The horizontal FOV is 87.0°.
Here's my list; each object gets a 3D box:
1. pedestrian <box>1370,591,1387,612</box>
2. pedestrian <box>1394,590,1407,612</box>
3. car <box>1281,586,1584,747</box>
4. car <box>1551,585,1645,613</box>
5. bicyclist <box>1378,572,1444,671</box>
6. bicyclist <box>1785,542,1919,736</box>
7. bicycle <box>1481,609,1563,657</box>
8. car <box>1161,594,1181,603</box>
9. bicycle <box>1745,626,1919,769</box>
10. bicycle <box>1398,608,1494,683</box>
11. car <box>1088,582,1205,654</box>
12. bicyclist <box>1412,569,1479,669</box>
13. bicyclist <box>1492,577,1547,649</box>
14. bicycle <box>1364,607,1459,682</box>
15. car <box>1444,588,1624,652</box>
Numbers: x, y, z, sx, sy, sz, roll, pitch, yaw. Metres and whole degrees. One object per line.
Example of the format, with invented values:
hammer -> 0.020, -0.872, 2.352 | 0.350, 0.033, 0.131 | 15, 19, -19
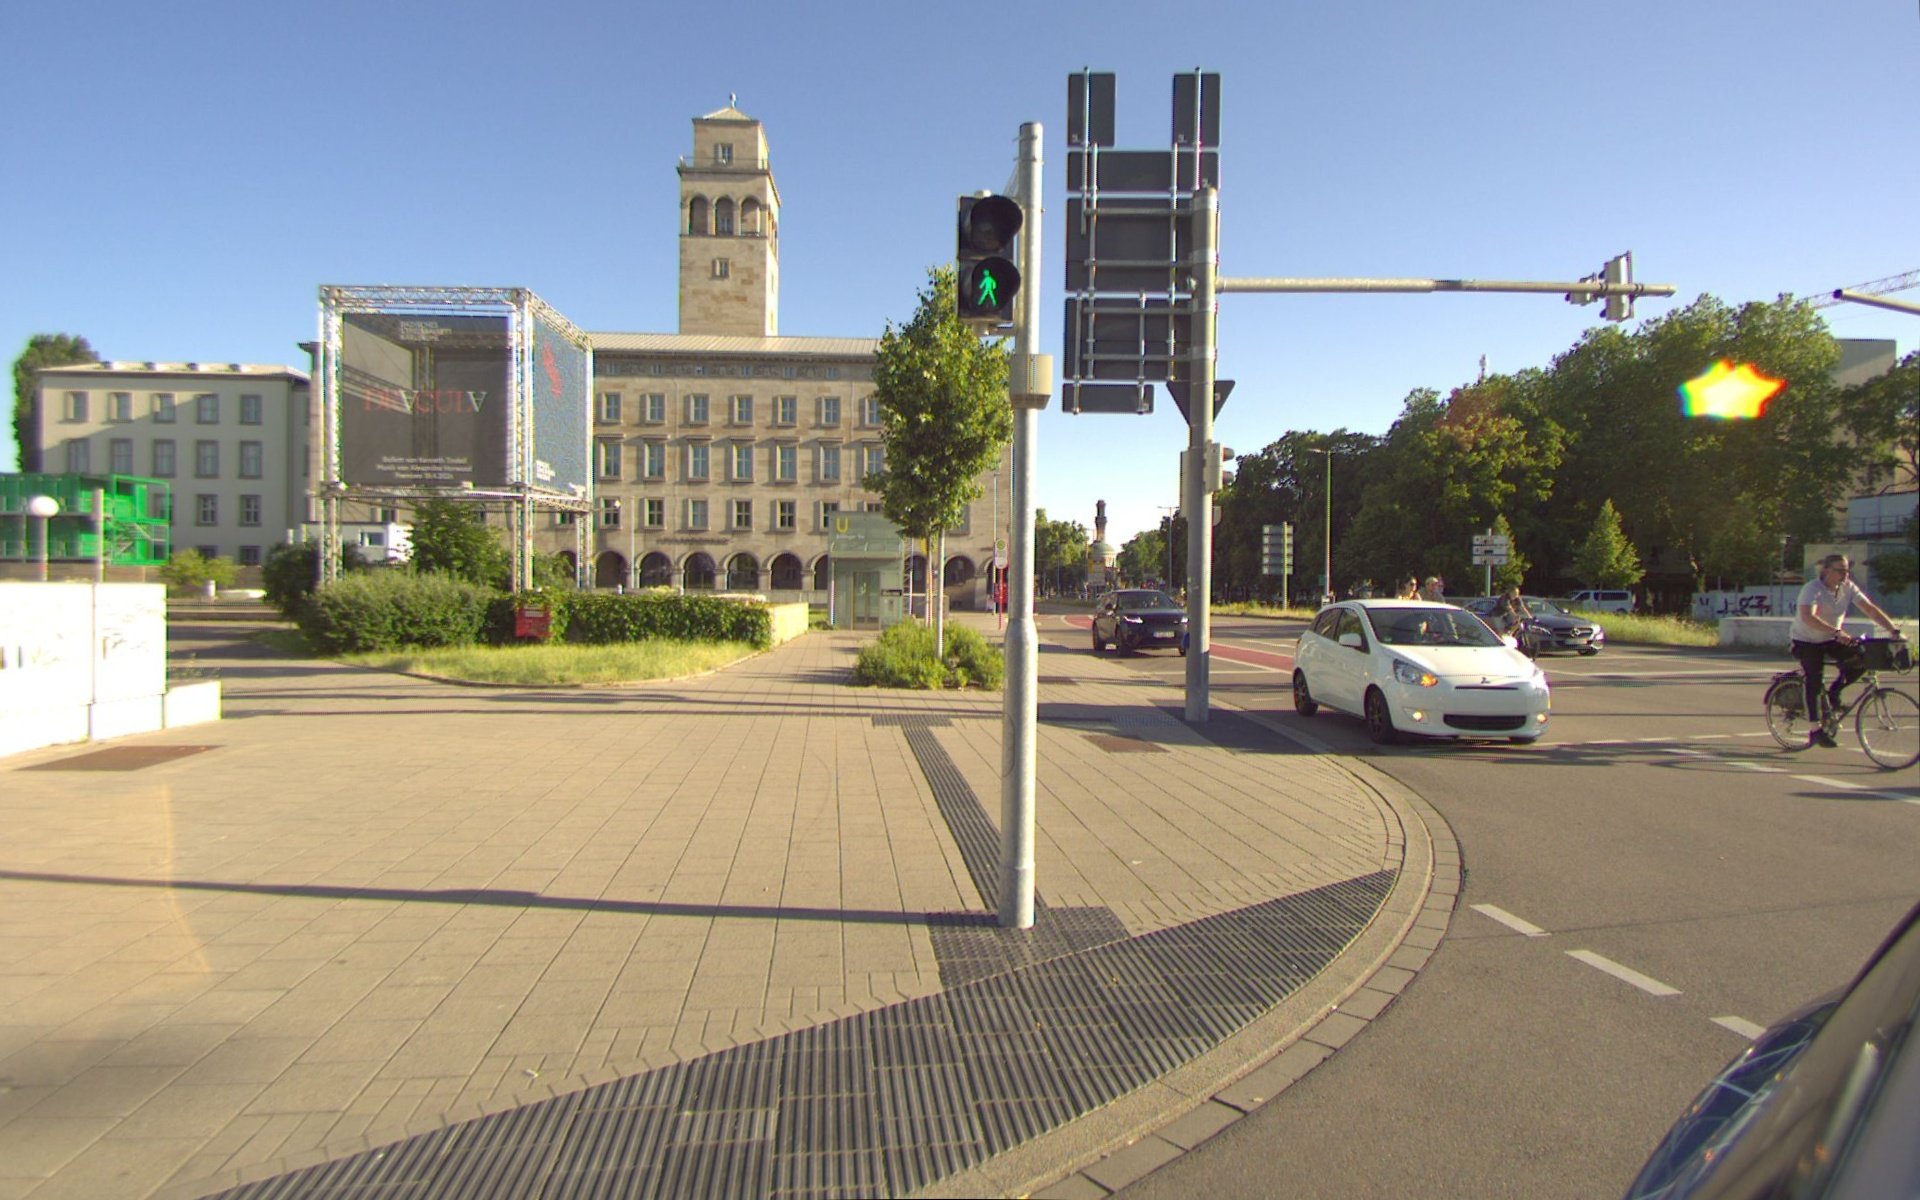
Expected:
pedestrian -> 35.684, 0.130, 86.279 | 0.978, 1.805, 0.964 | -1, 1, -1
pedestrian -> 34.425, 0.085, 79.081 | 0.652, 1.748, 0.698 | 1, 0, -1
car -> 5.112, 0.603, 11.589 | 1.630, 1.490, 3.968 | -1, 1, 1
car -> 44.884, -0.084, 71.277 | 5.234, 1.915, 1.998 | 1, 0, 4
bicyclist -> 7.319, 0.332, 16.453 | 0.639, 1.562, 0.848 | 1, 0, -3
bicyclist -> 8.214, 0.333, 9.244 | 0.688, 1.690, 0.786 | 1, 0, 2
bicycle -> 11.962, 0.681, 21.612 | 0.612, 0.920, 1.912 | 0, 1, -3
car -> 26.938, -0.232, 129.340 | 1.587, 1.147, 3.773 | 0, 1, -3
bicycle -> 8.218, 0.836, 9.245 | 0.696, 1.108, 1.800 | 1, 1, 1
bicycle -> 7.978, 0.716, 16.701 | 0.613, 1.130, 1.817 | 1, 1, -3
car -> 4.757, 0.398, 26.571 | 1.961, 1.683, 4.795 | 1, 1, -3
bicyclist -> 7.991, 0.301, 16.689 | 0.613, 1.595, 0.895 | 1, 0, -2
bicyclist -> 11.959, 0.264, 21.666 | 0.612, 1.522, 0.938 | 0, 0, -3
bicycle -> 7.308, 0.686, 16.480 | 0.639, 1.108, 1.802 | 1, 1, -3
car -> 13.735, 0.422, 24.565 | 1.743, 1.369, 4.527 | 0, 1, -1
